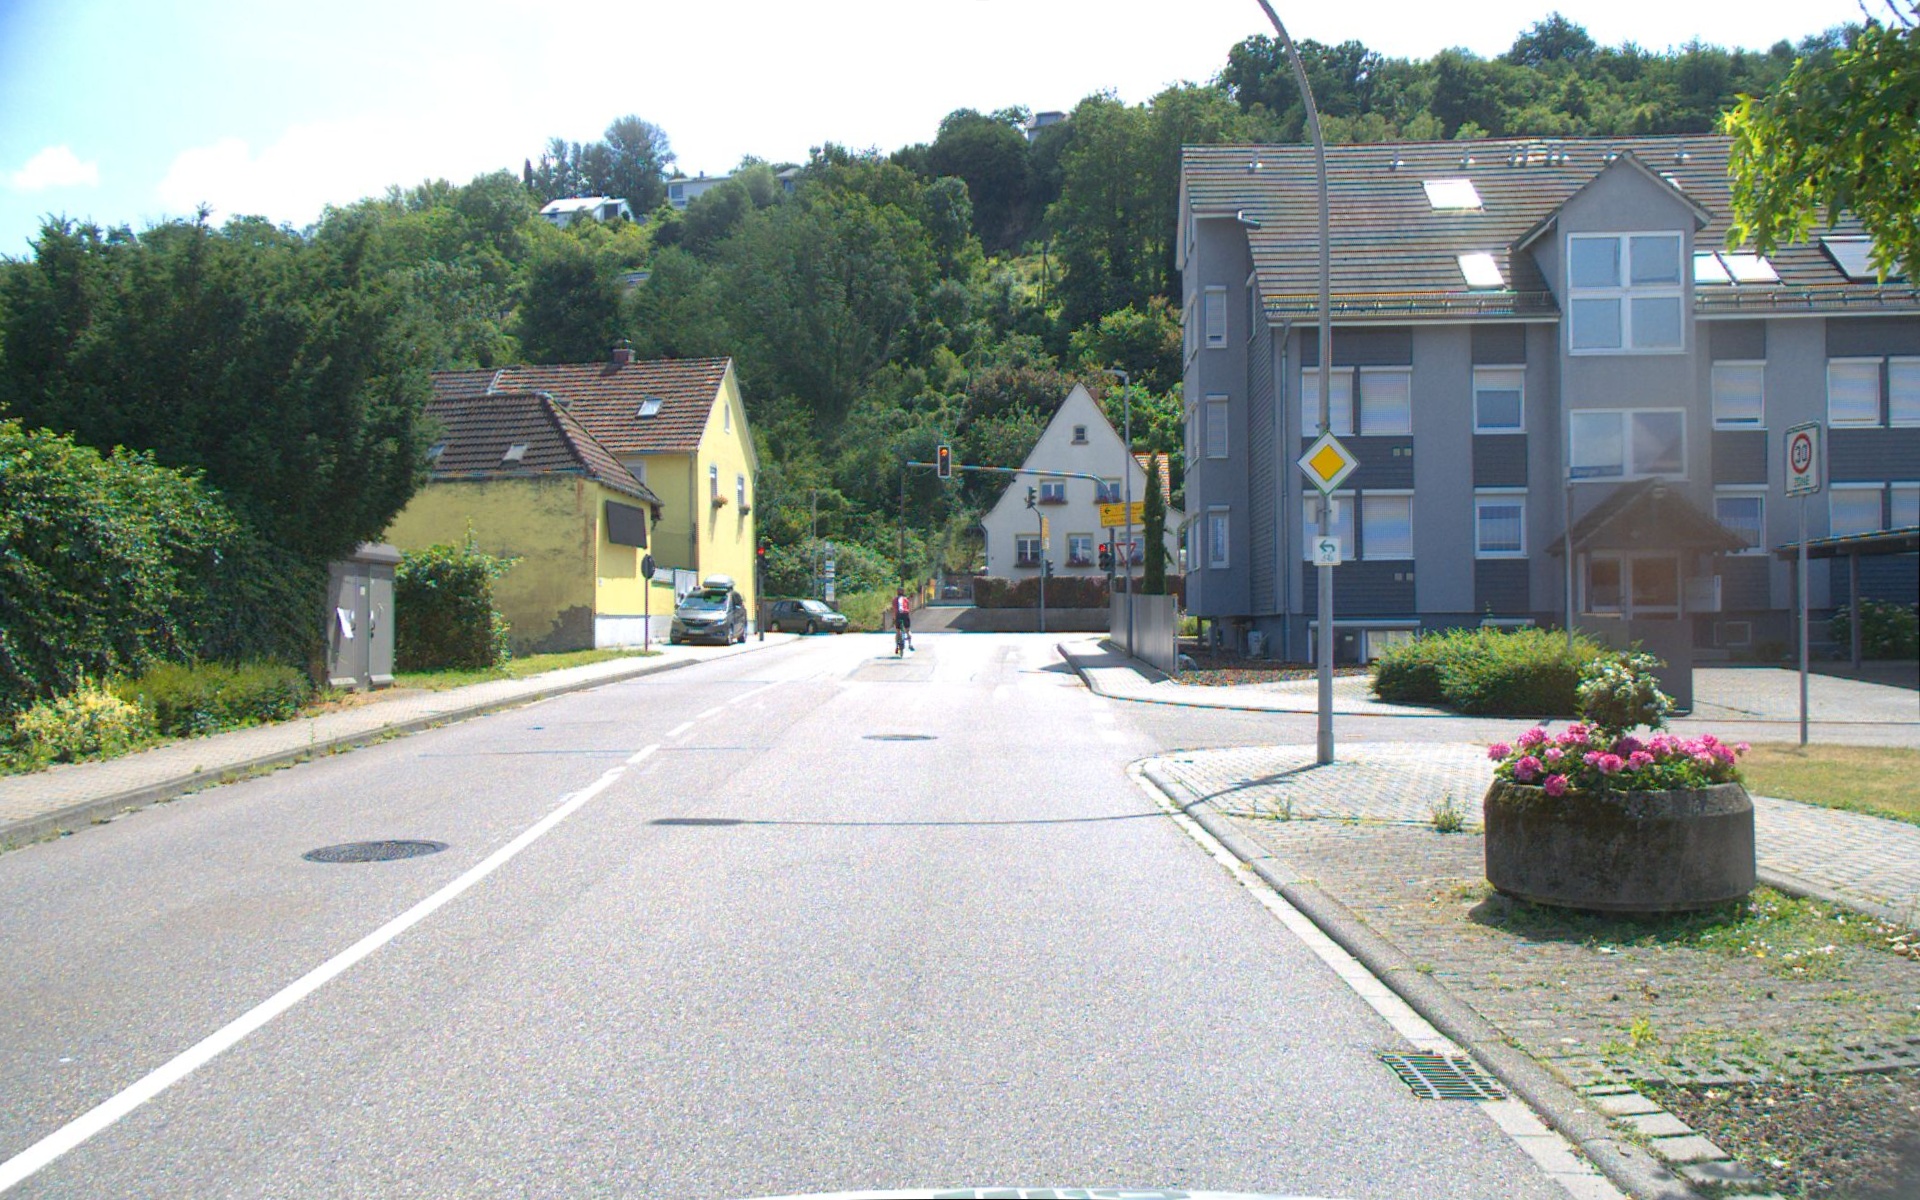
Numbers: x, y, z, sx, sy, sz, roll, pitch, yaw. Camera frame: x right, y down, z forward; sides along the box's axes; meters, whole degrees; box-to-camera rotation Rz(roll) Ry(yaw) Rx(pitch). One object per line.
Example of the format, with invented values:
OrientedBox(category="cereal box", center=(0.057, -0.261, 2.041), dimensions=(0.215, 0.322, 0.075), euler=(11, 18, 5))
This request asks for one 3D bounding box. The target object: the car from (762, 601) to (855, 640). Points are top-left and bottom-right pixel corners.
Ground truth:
OrientedBox(category="car", center=(-6.108, 0.820, 66.547), dimensions=(1.772, 1.458, 3.811), euler=(-2, 0, -43))

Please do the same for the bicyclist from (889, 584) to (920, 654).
OrientedBox(category="bicyclist", center=(-1.368, 0.463, 40.857), dimensions=(0.745, 1.693, 0.868), euler=(1, 0, -2))

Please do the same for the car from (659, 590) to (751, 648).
OrientedBox(category="car", center=(-7.756, 0.546, 50.763), dimensions=(1.952, 1.664, 4.631), euler=(1, 0, 2))

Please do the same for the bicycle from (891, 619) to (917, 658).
OrientedBox(category="bicycle", center=(-1.381, 0.947, 40.912), dimensions=(0.617, 0.920, 1.656), euler=(1, 0, -2))
